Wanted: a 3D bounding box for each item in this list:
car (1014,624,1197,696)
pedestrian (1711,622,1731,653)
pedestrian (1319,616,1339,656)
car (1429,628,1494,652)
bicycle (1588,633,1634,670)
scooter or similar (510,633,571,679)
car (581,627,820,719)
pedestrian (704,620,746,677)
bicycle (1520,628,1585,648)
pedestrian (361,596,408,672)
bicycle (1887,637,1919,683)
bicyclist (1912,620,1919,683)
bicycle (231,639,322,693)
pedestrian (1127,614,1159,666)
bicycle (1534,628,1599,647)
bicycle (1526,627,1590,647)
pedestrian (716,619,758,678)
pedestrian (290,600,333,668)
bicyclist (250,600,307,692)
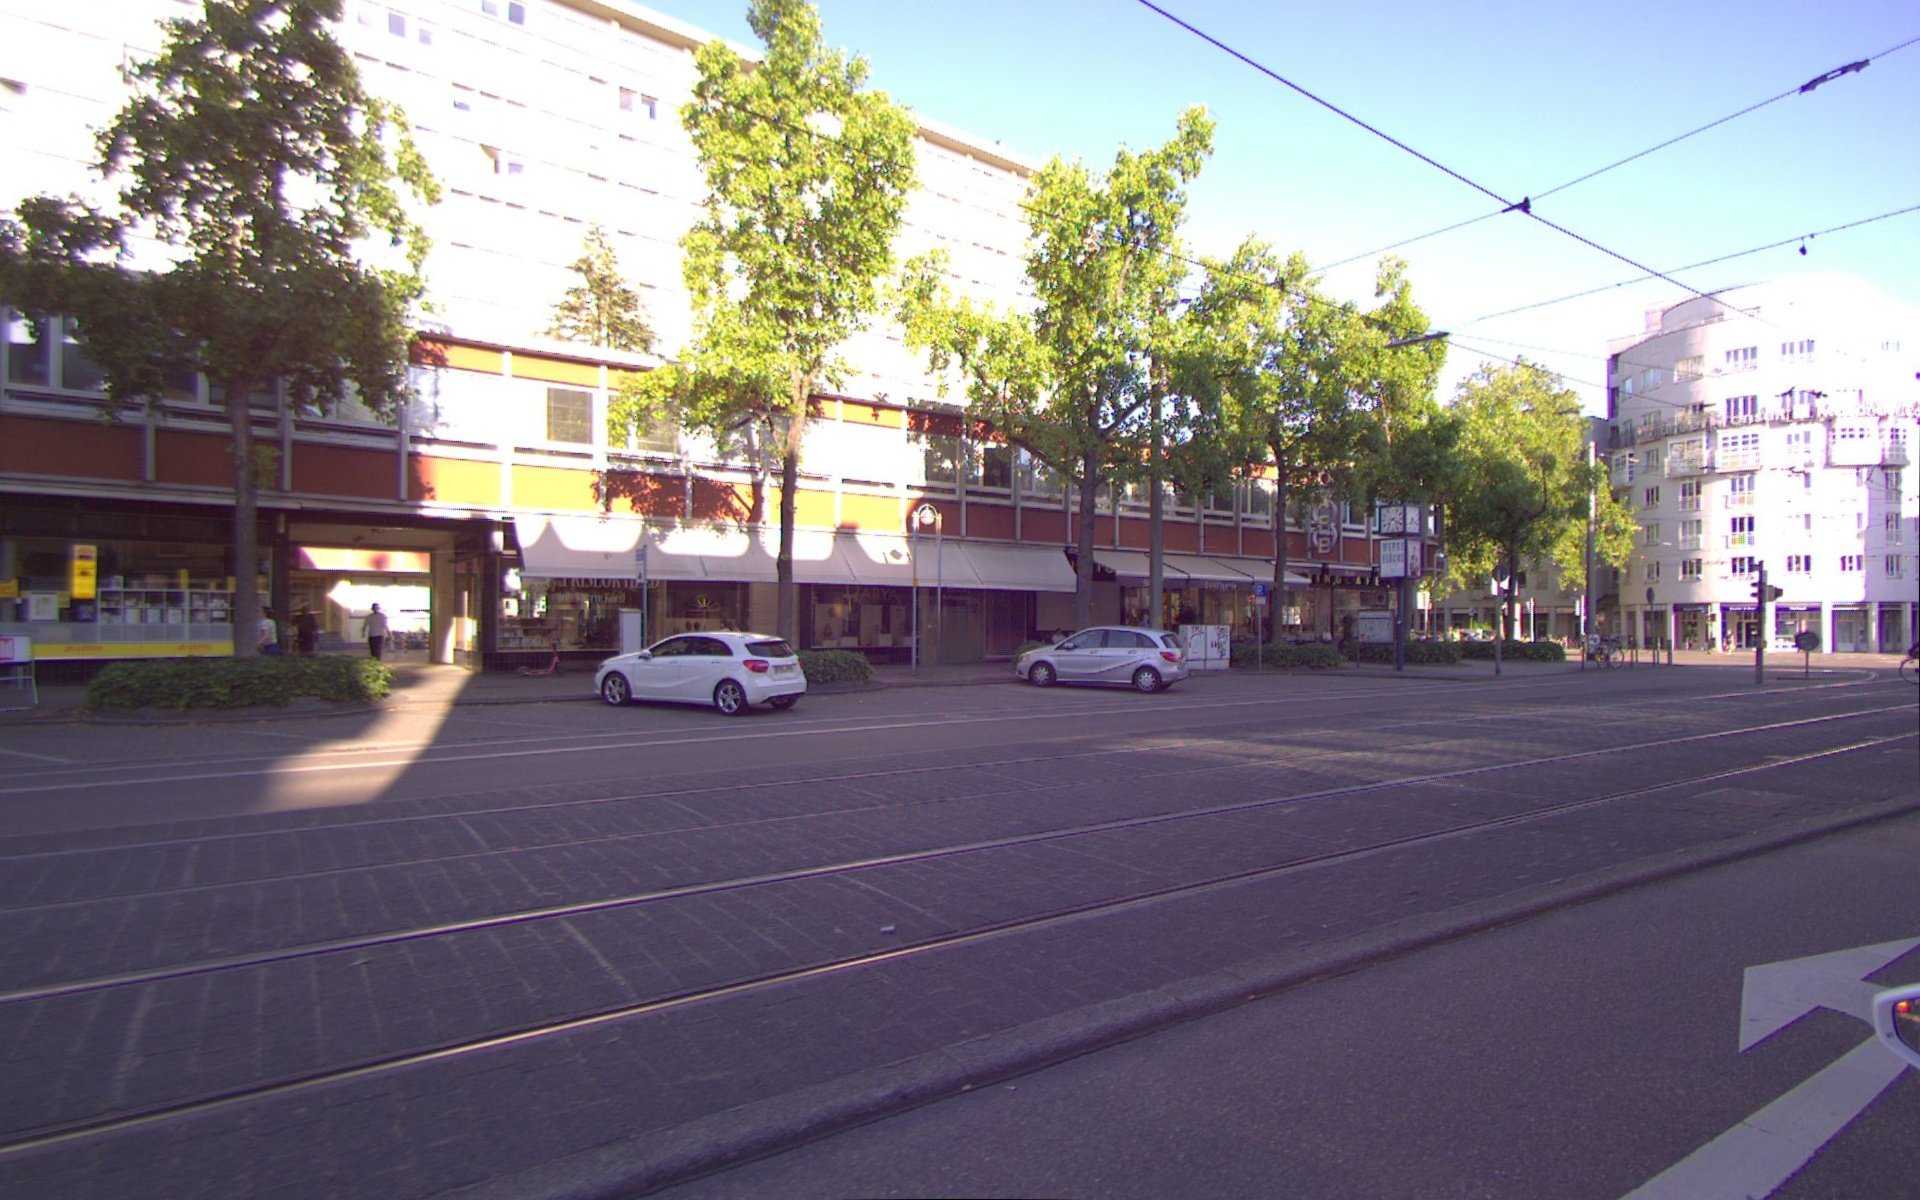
[{"bbox_3d":[3.651,1.445,25.247,4.199,1.587,1.826,1,-1,25],"label":"car"},{"bbox_3d":[51.980,2.548,68.582,0.929,2.040,0.939,-1,-1,28],"label":"pedestrian"},{"bbox_3d":[16.452,1.582,44.762,0.590,1.745,0.647,0,0,-15],"label":"pedestrian"},{"bbox_3d":[34.534,2.759,69.315,1.606,1.579,3.998,0,-2,-21],"label":"car"},{"bbox_3d":[24.451,1.913,37.726,1.885,1.345,0.667,1,1,-32],"label":"bicycle"},{"bbox_3d":[-10.408,1.378,24.923,1.325,1.108,0.471,1,-1,-37],"label":"scooter or similar"},{"bbox_3d":[-4.909,1.304,18.969,4.189,1.448,1.765,1,0,25],"label":"car"},{"bbox_3d":[-6.322,1.295,26.990,0.892,1.490,0.682,1,-2,-37],"label":"pedestrian"},{"bbox_3d":[48.372,3.073,82.068,1.054,1.550,4.681,1,-2,-30],"label":"bicycle"},{"bbox_3d":[-15.411,0.903,26.909,0.987,1.974,0.891,1,-2,-37],"label":"pedestrian"},{"bbox_3d":[25.921,1.606,26.580,0.624,1.193,1.999,2,-2,-42],"label":"bicycle"},{"bbox_3d":[25.566,1.362,26.403,0.760,1.648,0.723,2,-2,-43],"label":"bicyclist"},{"bbox_3d":[-14.094,1.347,20.750,0.483,1.039,1.494,0,-1,29],"label":"bicycle"},{"bbox_3d":[6.318,1.377,34.731,0.866,1.745,0.699,0,1,-35],"label":"pedestrian"},{"bbox_3d":[50.490,3.113,83.730,1.054,1.550,4.681,1,-2,-30],"label":"bicycle"},{"bbox_3d":[49.279,3.027,82.864,1.054,1.550,4.681,1,-2,-30],"label":"bicycle"},{"bbox_3d":[-5.873,1.276,26.444,0.892,1.517,0.682,1,-2,-37],"label":"pedestrian"},{"bbox_3d":[-18.650,0.982,28.881,0.912,1.902,0.889,1,-2,-41],"label":"pedestrian"},{"bbox_3d":[-14.086,0.941,20.771,0.483,1.846,0.826,0,-1,29],"label":"bicyclist"}]
